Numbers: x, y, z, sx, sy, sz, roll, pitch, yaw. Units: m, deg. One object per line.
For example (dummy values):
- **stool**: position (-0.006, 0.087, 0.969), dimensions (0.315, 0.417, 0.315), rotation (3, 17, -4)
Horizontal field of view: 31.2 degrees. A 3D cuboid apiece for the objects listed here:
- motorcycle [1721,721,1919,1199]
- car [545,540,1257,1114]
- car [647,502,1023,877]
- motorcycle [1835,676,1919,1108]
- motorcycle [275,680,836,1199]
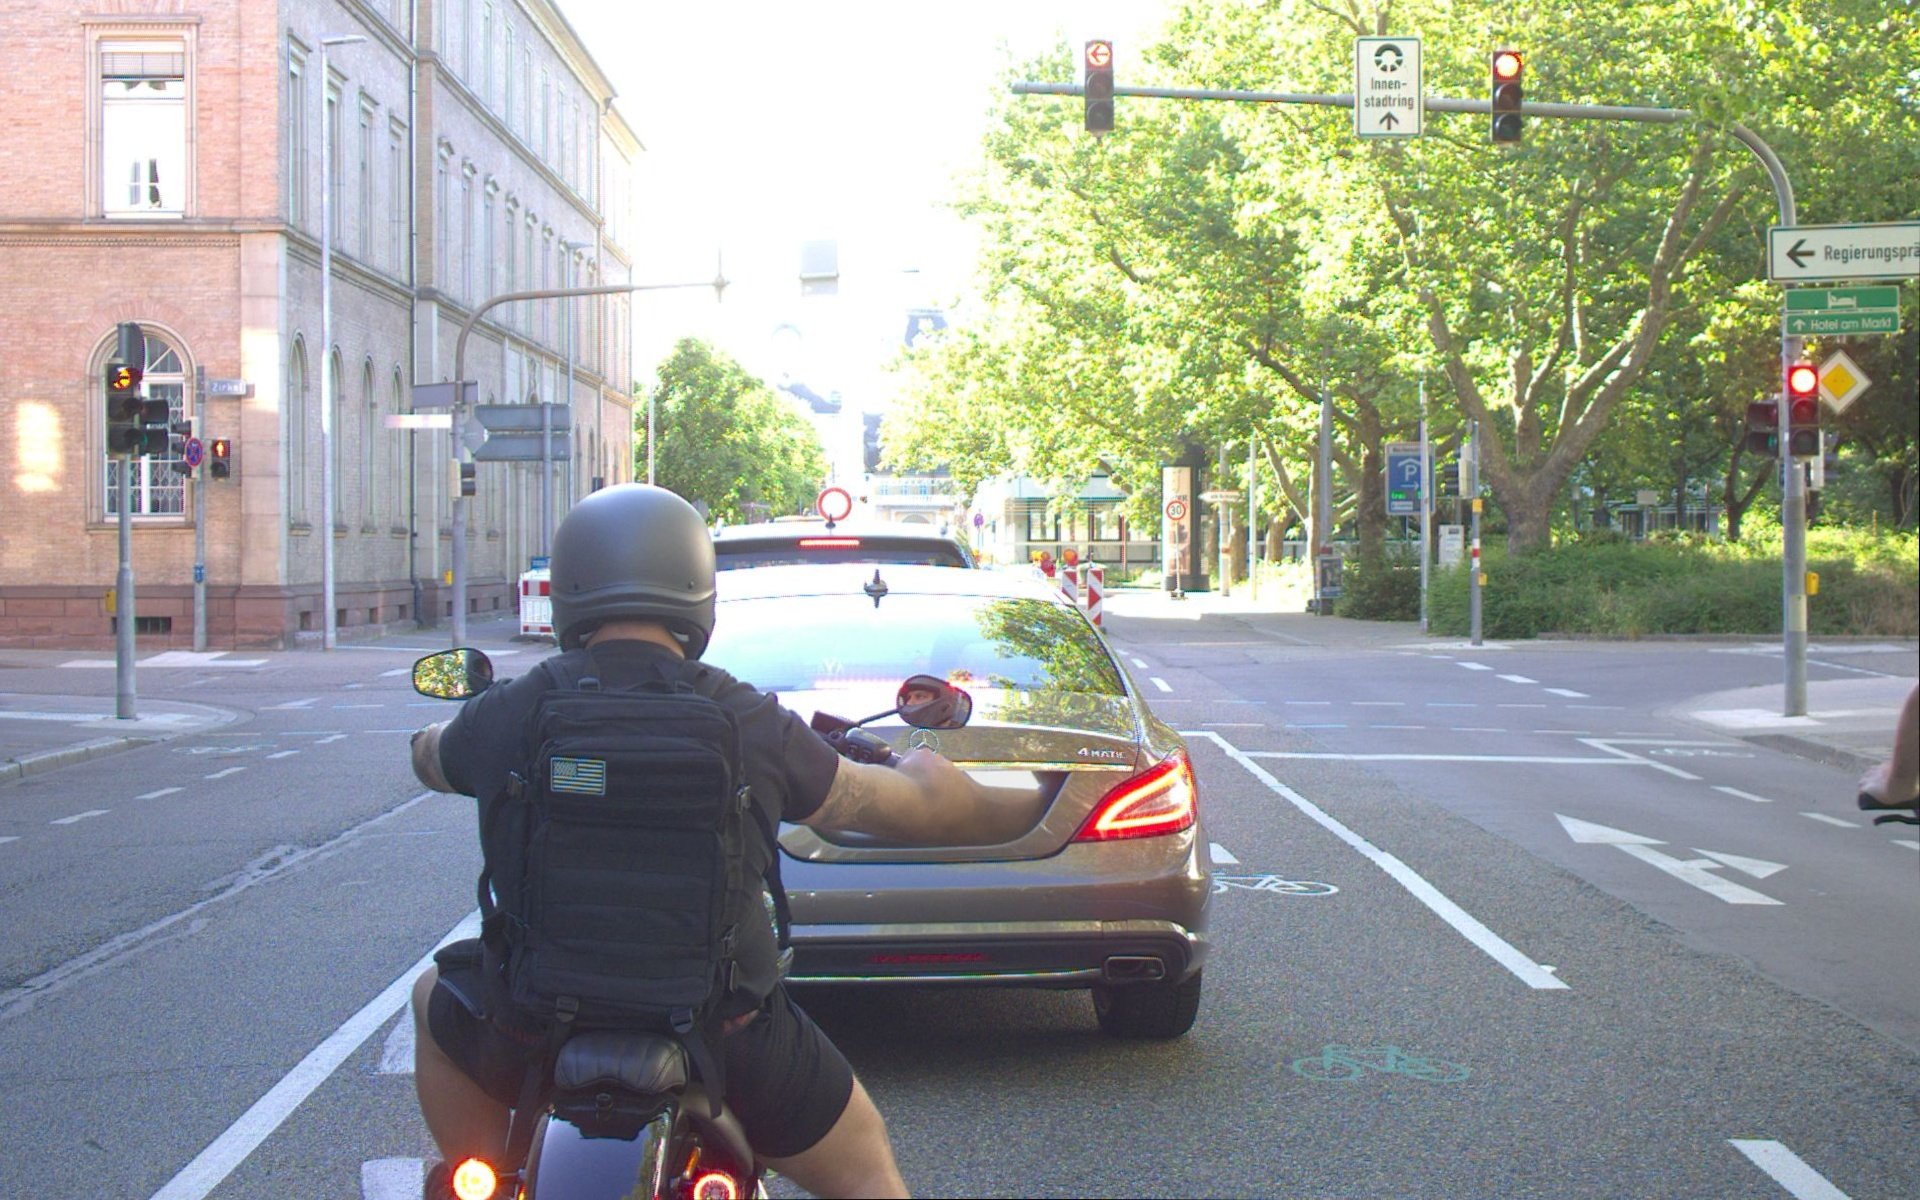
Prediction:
- **motorcycle**: position (2.001, 0.844, 6.051), dimensions (0.863, 1.164, 1.930), rotation (1, 1, -1)
- **car**: position (-0.403, 0.571, 11.131), dimensions (1.824, 1.481, 4.334), rotation (1, 1, -7)
- **car**: position (-0.575, 0.378, 17.281), dimensions (1.651, 1.646, 4.000), rotation (1, 1, -1)
- **motorcycle**: position (2.976, 0.802, 8.927), dimensions (0.797, 1.128, 2.236), rotation (1, 1, -1)
- **motorcycle**: position (-0.558, 0.783, 5.425), dimensions (0.660, 1.236, 2.058), rotation (1, 1, -1)
